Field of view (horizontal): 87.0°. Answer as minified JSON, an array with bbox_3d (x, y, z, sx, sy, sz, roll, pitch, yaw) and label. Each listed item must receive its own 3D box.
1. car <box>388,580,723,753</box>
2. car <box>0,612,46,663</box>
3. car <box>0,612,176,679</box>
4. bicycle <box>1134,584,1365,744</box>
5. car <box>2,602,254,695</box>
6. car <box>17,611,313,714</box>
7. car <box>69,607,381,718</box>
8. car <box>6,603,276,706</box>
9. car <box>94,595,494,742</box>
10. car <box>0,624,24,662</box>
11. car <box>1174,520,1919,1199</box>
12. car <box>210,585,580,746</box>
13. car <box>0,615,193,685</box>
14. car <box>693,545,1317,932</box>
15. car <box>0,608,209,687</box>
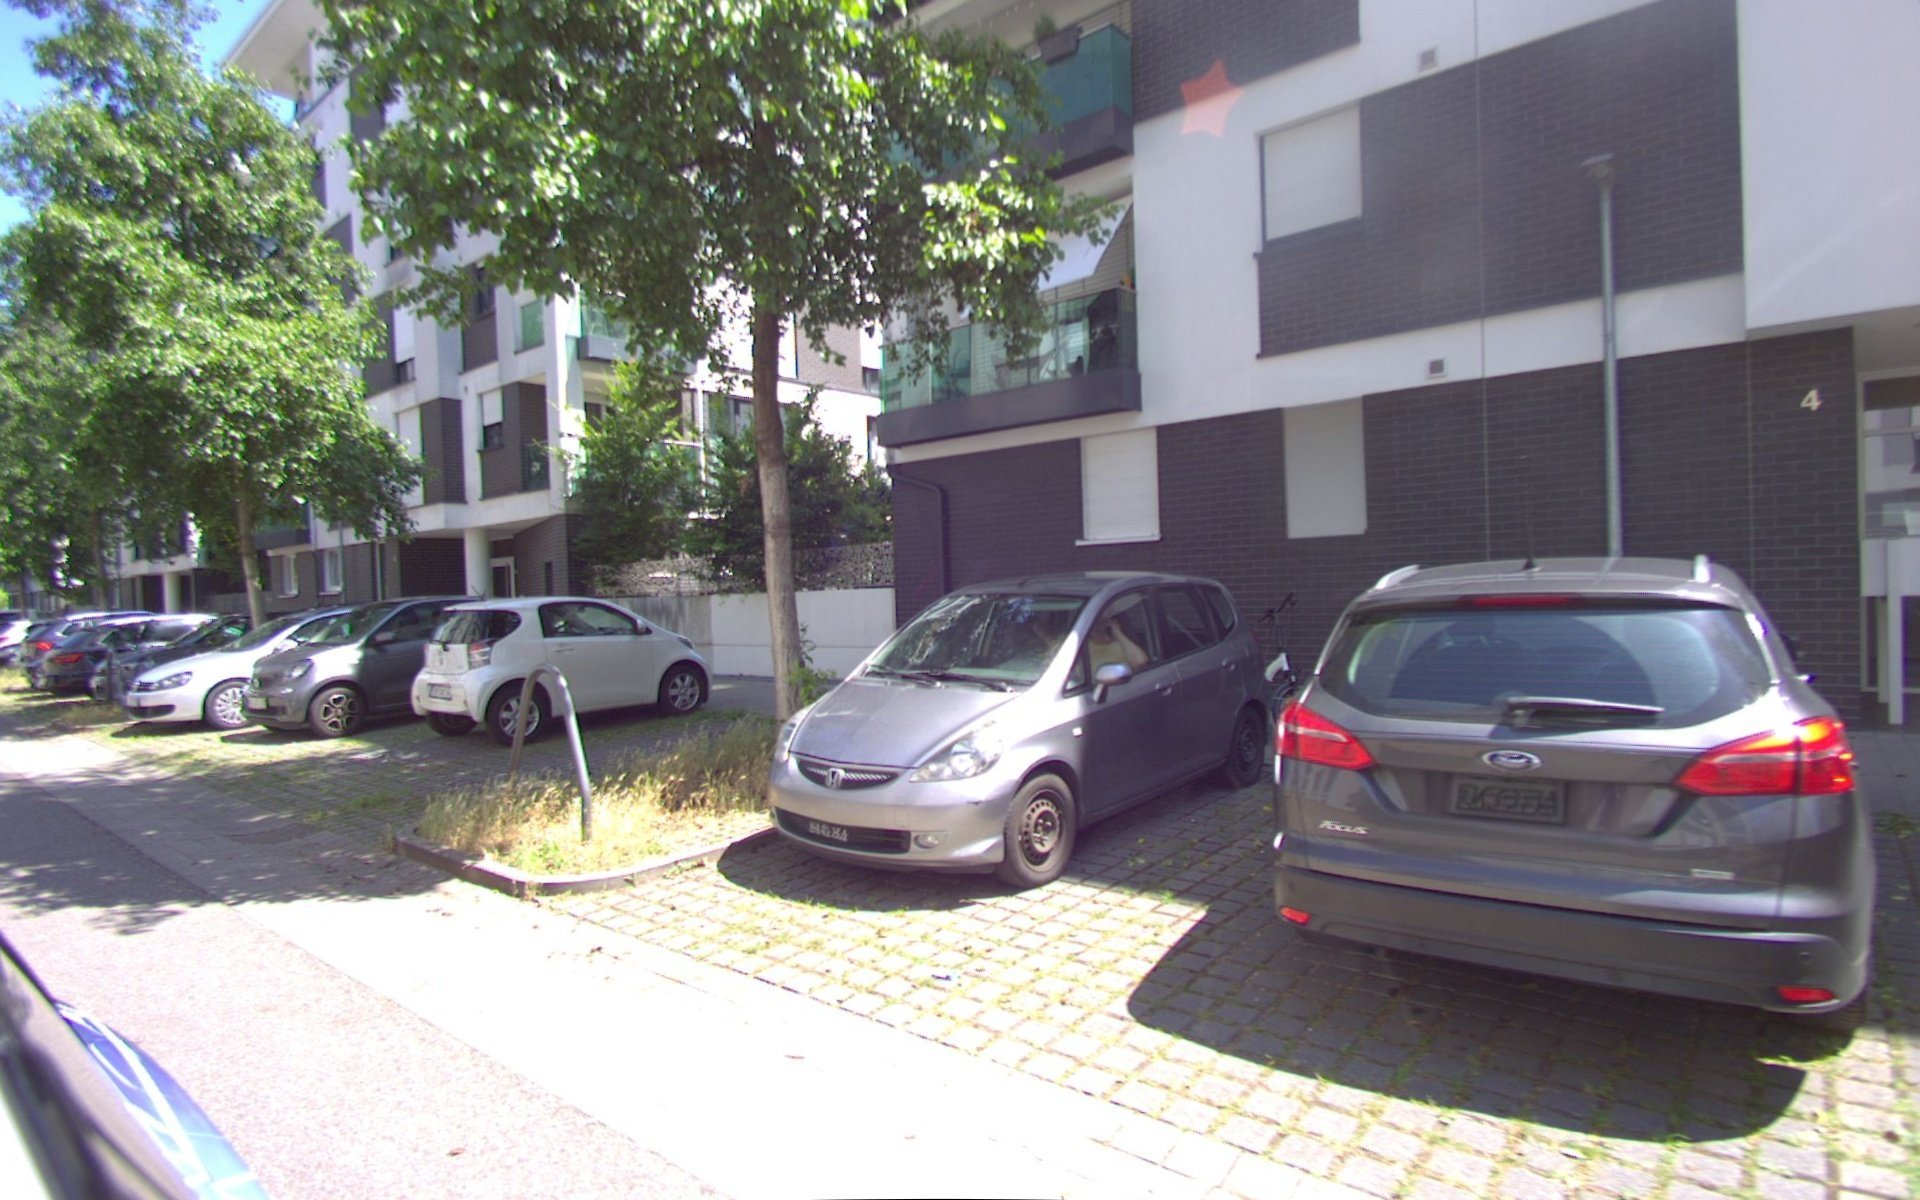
[{"bbox_3d":[-4.475,0.640,11.433,1.846,1.511,2.905,-2,3,39],"label":"car"},{"bbox_3d":[-42.491,1.672,42.939,2.186,2.126,5.286,-2,0,42],"label":"car"},{"bbox_3d":[-25.498,1.274,29.151,1.923,1.529,4.211,-2,3,39],"label":"car"},{"bbox_3d":[2.380,0.503,8.478,1.774,1.199,0.560,-2,0,43],"label":"bicycle"},{"bbox_3d":[-18.266,0.998,22.356,1.932,1.641,3.948,-2,2,40],"label":"car"},{"bbox_3d":[-14.559,1.061,18.731,1.772,1.456,3.939,-2,2,36],"label":"car"},{"bbox_3d":[-12.474,0.977,17.366,1.896,1.432,3.947,-2,2,41],"label":"car"},{"bbox_3d":[-16.502,1.013,20.530,1.917,1.663,3.946,-2,2,42],"label":"car"},{"bbox_3d":[-9.164,0.843,14.259,1.997,1.723,4.319,-2,-1,37],"label":"car"},{"bbox_3d":[-40.493,1.860,40.971,1.676,1.492,3.588,-2,2,39],"label":"car"},{"bbox_3d":[2.705,0.487,4.352,1.955,1.497,4.143,0,2,36],"label":"car"},{"bbox_3d":[-7.077,0.708,12.998,1.816,1.597,3.677,-2,2,35],"label":"car"},{"bbox_3d":[-23.714,1.311,27.471,1.791,1.487,4.274,-2,2,40],"label":"car"},{"bbox_3d":[0.564,0.517,6.302,1.870,1.565,3.899,-2,2,39],"label":"car"},{"bbox_3d":[-21.808,1.151,25.766,1.882,1.603,3.947,-2,2,40],"label":"car"}]
